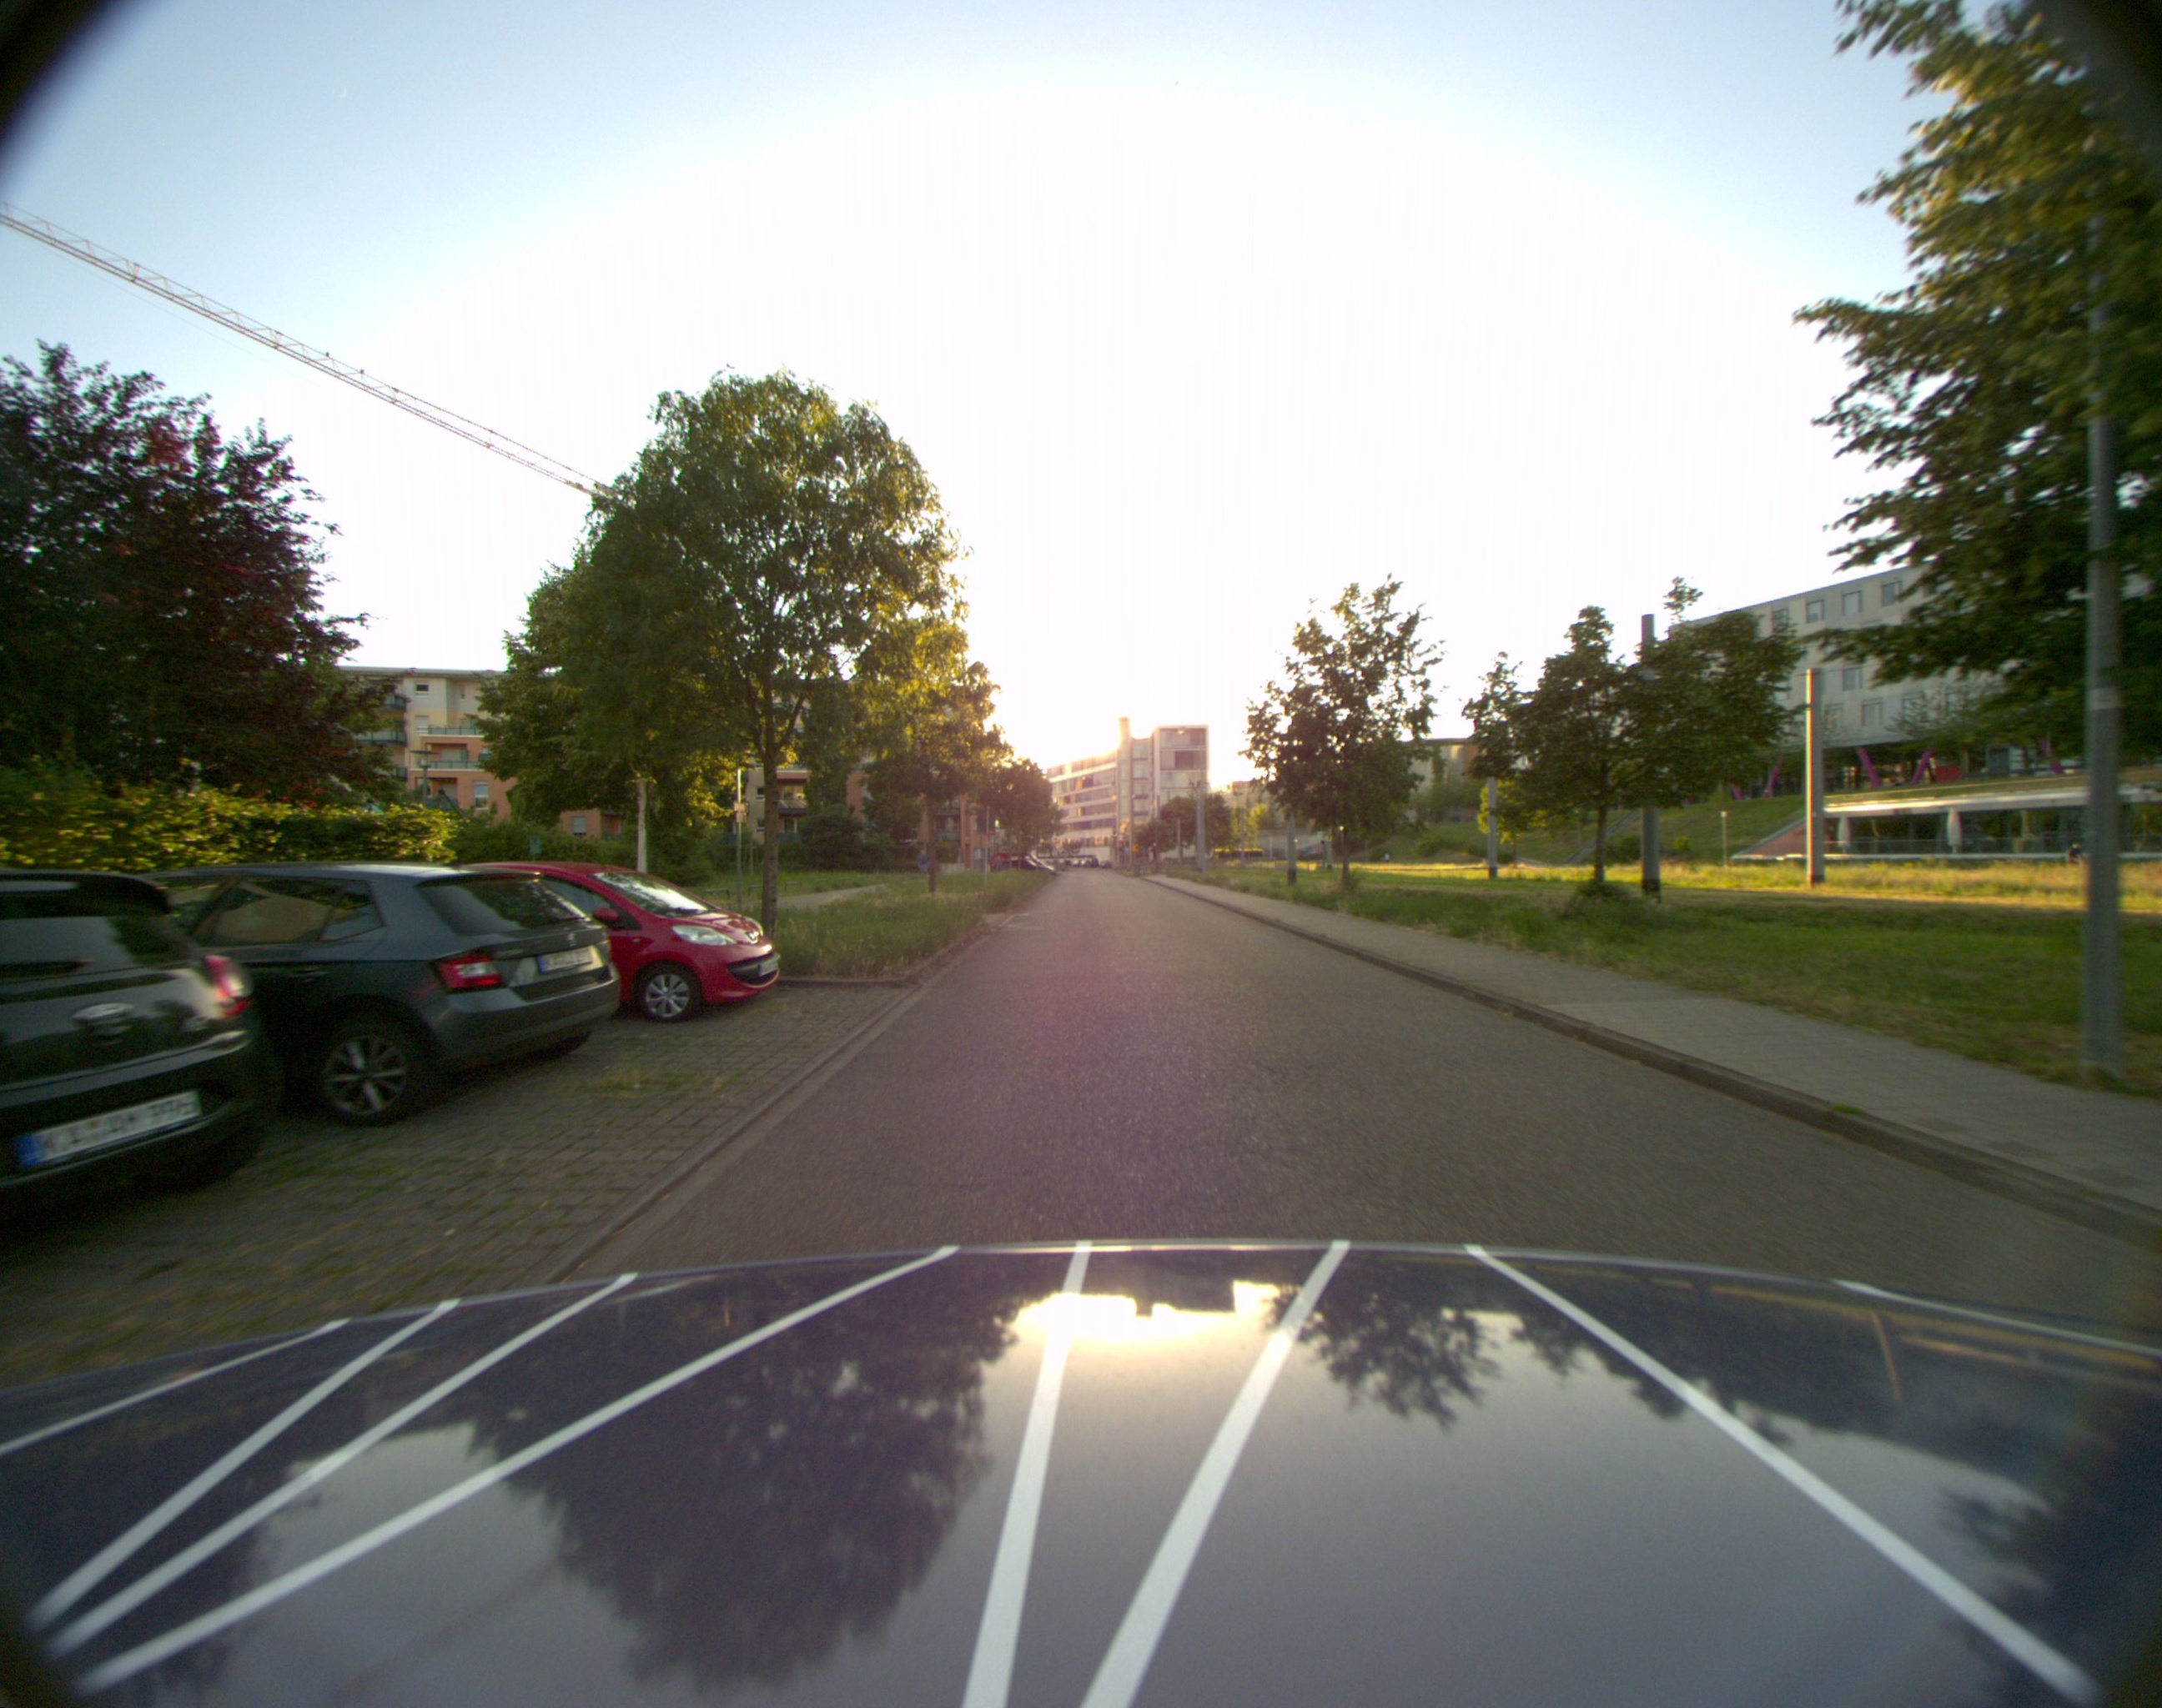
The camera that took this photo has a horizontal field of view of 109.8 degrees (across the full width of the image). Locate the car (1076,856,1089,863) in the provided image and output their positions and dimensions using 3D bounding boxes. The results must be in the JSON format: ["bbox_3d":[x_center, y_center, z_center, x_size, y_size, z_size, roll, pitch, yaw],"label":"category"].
[{"bbox_3d":[0.289,1.217,159.991,1.655,1.468,3.760,-1,0,-19],"label":"car"}]

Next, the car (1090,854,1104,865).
[{"bbox_3d":[3.103,1.150,150.575,1.895,1.961,4.513,-3,0,-10],"label":"car"}]

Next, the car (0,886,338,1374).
[{"bbox_3d":[-5.441,0.958,2.696,3.813,1.500,1.678,-1,2,-2],"label":"car"}]

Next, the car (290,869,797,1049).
[{"bbox_3d":[-5.064,0.943,7.585,3.813,1.500,1.678,-1,0,-2],"label":"car"}]

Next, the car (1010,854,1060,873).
[{"bbox_3d":[-3.954,0.845,66.117,4.226,1.559,1.792,1,0,0],"label":"car"}]

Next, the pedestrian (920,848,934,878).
[{"bbox_3d":[-9.080,0.550,44.806,0.670,1.733,0.699,-1,0,0],"label":"pedestrian"}]

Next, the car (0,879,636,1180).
[{"bbox_3d":[-5.259,0.962,4.843,3.813,1.500,1.678,-1,0,-2],"label":"car"}]

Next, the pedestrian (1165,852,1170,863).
[{"bbox_3d":[14.460,0.637,127.055,0.450,1.826,0.483,-3,1,-20],"label":"pedestrian"}]

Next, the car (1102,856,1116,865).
[{"bbox_3d":[5.126,1.174,139.414,1.858,1.433,4.225,-3,0,-9],"label":"car"}]

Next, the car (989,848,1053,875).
[{"bbox_3d":[-4.799,0.586,61.153,4.932,2.104,2.017,-1,0,1],"label":"car"}]

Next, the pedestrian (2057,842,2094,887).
[{"bbox_3d":[47.146,0.502,36.027,0.618,2.070,0.790,-3,1,-1],"label":"pedestrian"}]

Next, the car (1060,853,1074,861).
[{"bbox_3d":[-3.191,0.740,168.042,1.799,1.676,3.993,-1,0,-21],"label":"car"}]

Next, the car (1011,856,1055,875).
[{"bbox_3d":[-4.013,0.948,63.749,3.534,1.456,1.615,1,0,0],"label":"car"}]

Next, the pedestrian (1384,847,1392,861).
[{"bbox_3d":[41.993,0.033,103.975,0.618,1.826,0.790,-3,1,-1],"label":"pedestrian"}]

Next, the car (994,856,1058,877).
[{"bbox_3d":[-4.183,0.933,58.040,4.680,1.547,1.811,-1,0,1],"label":"car"}]
